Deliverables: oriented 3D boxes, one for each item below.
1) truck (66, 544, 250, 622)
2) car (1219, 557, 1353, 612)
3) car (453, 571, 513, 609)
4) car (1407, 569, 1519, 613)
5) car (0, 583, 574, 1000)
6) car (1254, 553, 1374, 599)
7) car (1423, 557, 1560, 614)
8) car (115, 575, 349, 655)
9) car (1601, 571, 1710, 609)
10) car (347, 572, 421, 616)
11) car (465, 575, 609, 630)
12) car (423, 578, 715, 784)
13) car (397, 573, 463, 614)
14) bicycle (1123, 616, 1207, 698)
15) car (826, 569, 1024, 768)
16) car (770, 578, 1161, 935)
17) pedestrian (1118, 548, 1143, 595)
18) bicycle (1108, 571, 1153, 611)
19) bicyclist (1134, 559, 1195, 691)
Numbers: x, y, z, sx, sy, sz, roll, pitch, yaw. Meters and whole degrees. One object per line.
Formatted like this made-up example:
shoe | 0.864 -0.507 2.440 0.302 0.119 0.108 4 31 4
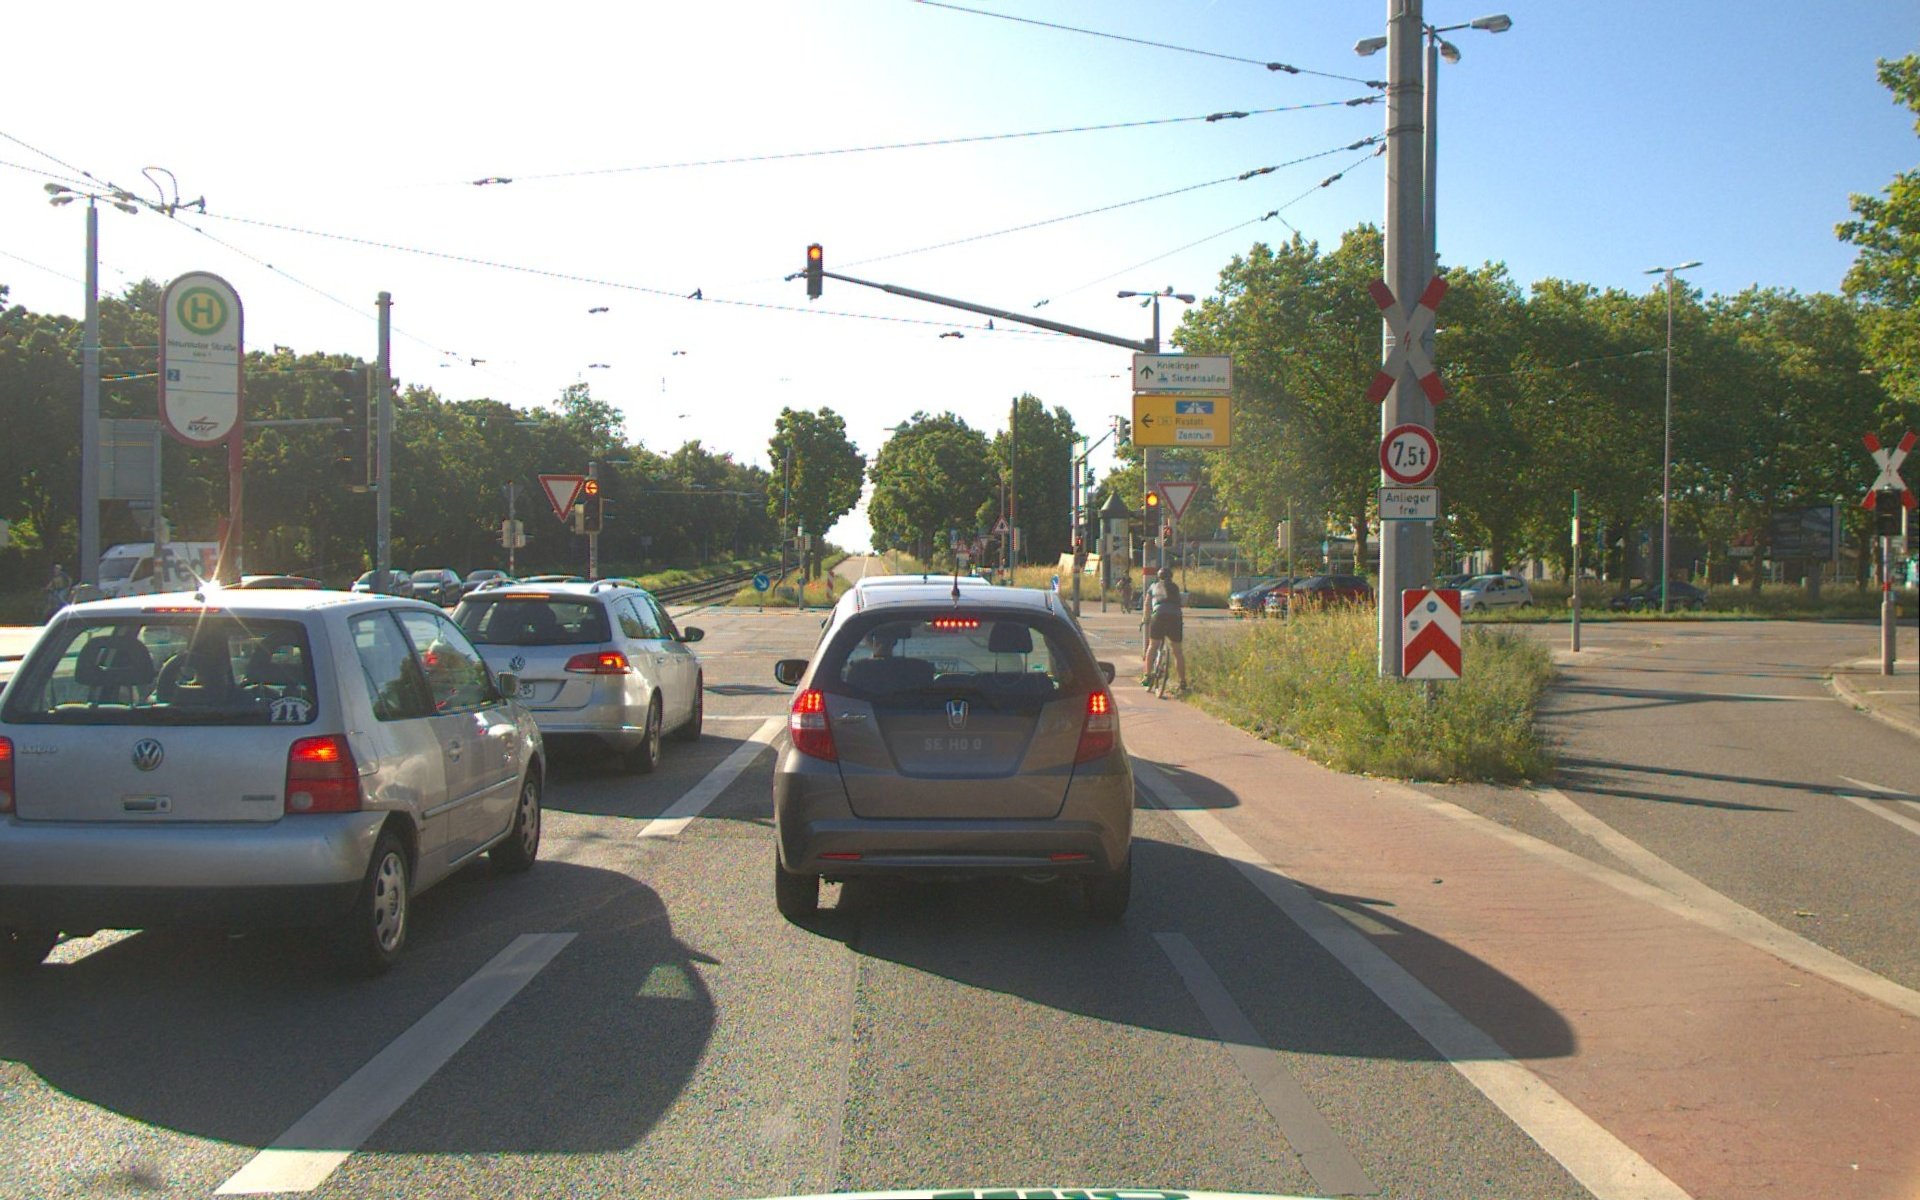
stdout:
truck | -28.257 -0.610 58.621 1.951 2.610 6.829 0 1 14
car | 12.172 -0.555 61.772 4.625 1.912 1.985 1 0 -24
car | -21.652 -0.490 75.185 1.956 1.632 4.746 1 1 -8
car | 19.855 -0.353 65.280 3.931 1.606 1.868 1 0 -22
car | -2.899 0.665 7.454 1.586 1.442 3.350 0 0 -1
car | 12.349 -0.832 57.674 3.934 1.557 1.594 -1 1 -24
car | 19.851 -0.561 61.726 4.823 2.049 1.985 0 1 -24
car | -13.737 0.240 31.436 1.573 1.427 4.012 0 1 27
car | 29.581 -0.436 70.350 4.449 1.601 1.681 -1 1 -24
car | -21.253 -0.232 61.147 1.797 1.575 3.993 0 1 -8
car | -11.163 0.038 43.859 1.496 1.403 3.665 0 1 33
car | -3.152 0.588 14.104 1.586 1.482 4.084 1 0 -1
car | -21.415 -0.273 66.936 1.797 1.575 4.277 0 1 -8
bicycle | 2.769 0.743 22.653 0.707 1.006 2.875 1 0 -1
car | -0.327 0.530 15.360 1.578 1.589 4.287 0 0 -1
car | -0.064 0.637 8.728 1.635 1.487 3.584 0 1 -3
pedestrian | 6.936 -1.156 67.343 0.773 1.868 0.854 0 0 26
bicycle | 6.978 -0.384 67.440 0.802 1.601 3.212 0 1 26
bicyclist | 2.782 0.331 22.573 0.652 1.746 0.948 1 0 -2
